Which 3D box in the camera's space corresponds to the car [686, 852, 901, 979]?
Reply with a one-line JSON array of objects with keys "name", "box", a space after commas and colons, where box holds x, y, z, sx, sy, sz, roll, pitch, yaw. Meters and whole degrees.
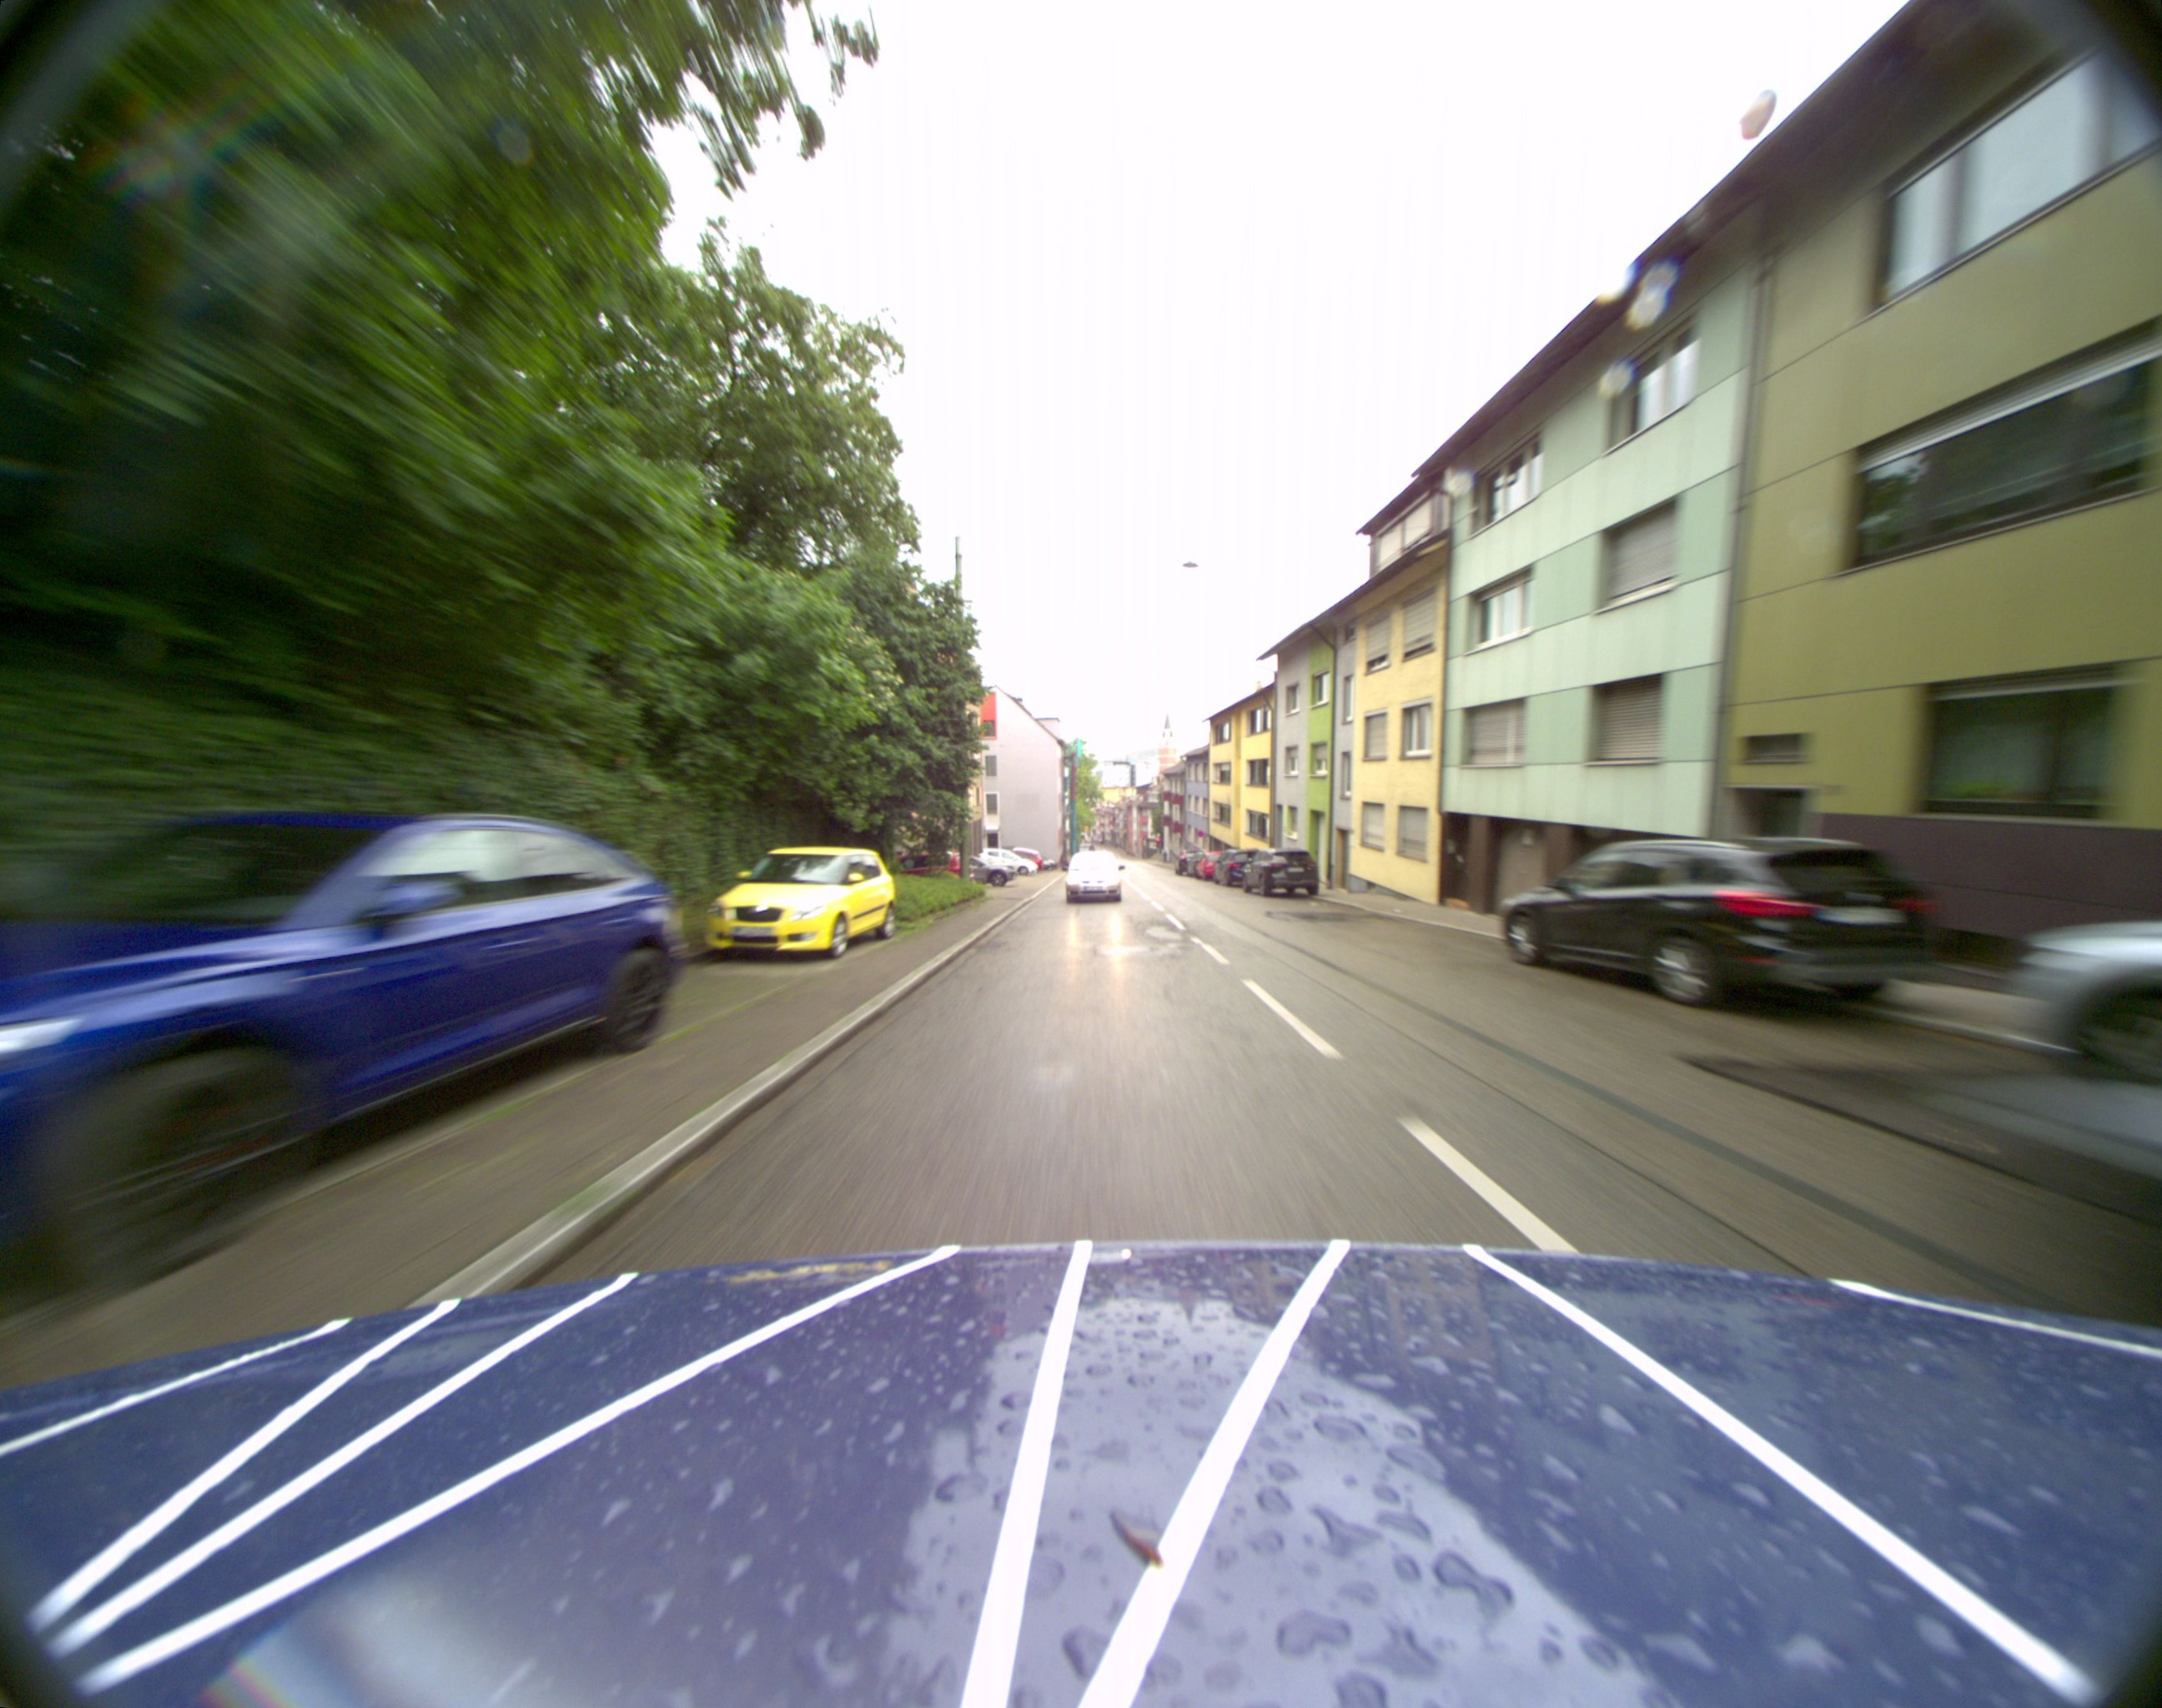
[{"name": "car", "box": [-3.951, 0.740, 11.143, 1.567, 1.459, 3.898, 2, 1, 1]}]

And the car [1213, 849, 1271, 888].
[{"name": "car", "box": [6.996, 0.599, 33.383, 1.687, 1.584, 4.055, 1, 1, 1]}]

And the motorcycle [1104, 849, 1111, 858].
[{"name": "motorcycle", "box": [3.391, -0.067, 95.925, 0.779, 1.120, 2.299, -2, 1, 3]}]

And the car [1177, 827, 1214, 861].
[{"name": "car", "box": [9.121, -0.819, 61.063, 2.122, 2.536, 5.443, 2, 1, 0]}]

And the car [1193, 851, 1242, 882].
[{"name": "car", "box": [7.227, 0.625, 40.490, 1.908, 1.528, 3.999, 1, 1, 1]}]

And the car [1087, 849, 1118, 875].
[{"name": "car", "box": [1.414, 0.499, 51.287, 1.999, 1.603, 3.966, -1, 1, 0]}]

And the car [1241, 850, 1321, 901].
[{"name": "car", "box": [6.754, 0.670, 26.063, 1.696, 1.584, 3.999, 1, 1, 0]}]

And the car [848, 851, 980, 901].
[{"name": "car", "box": [-5.819, 0.755, 26.769, 4.193, 1.585, 1.803, -1, 1, 1]}]

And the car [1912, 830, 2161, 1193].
[{"name": "car", "box": [6.179, 0.790, 2.251, 1.971, 1.729, 4.884, 1, 1, -1]}]

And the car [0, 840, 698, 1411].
[{"name": "car", "box": [-3.971, 0.745, 3.774, 1.769, 1.614, 4.678, 0, 1, 0]}]

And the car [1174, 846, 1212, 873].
[{"name": "car", "box": [7.336, 0.322, 50.159, 1.908, 1.647, 4.327, 1, 1, 1]}]

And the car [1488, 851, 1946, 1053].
[{"name": "car", "box": [6.391, 0.802, 8.437, 1.414, 1.605, 4.382, 1, 1, 1]}]

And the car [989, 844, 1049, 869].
[{"name": "car", "box": [-4.564, 0.196, 56.309, 4.193, 1.635, 1.803, 3, 2, 0]}]

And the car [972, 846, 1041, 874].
[{"name": "car", "box": [-4.767, 0.359, 49.012, 4.193, 1.565, 1.803, 3, 1, 0]}]

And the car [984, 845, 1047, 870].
[{"name": "car", "box": [-4.600, 0.255, 53.806, 4.193, 1.565, 1.803, 3, 1, 0]}]

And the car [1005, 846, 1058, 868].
[{"name": "car", "box": [-4.062, 0.225, 62.490, 4.193, 1.565, 1.803, 3, 1, 0]}]

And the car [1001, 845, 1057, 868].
[{"name": "car", "box": [-4.066, 0.190, 60.164, 4.193, 1.565, 1.803, 3, 1, 0]}]

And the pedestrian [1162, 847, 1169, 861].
[{"name": "pedestrian", "box": [9.839, 0.016, 88.244, 0.805, 1.608, 0.455, -1, 1, 2]}]

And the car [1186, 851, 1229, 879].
[{"name": "car", "box": [7.478, 0.608, 45.323, 1.908, 1.528, 3.999, 1, 1, 1]}]

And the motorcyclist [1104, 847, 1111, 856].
[{"name": "motorcyclist", "box": [3.377, -0.344, 95.999, 0.779, 1.120, 0.549, -2, 1, 3]}]

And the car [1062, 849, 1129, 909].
[{"name": "car", "box": [0.530, 0.683, 23.387, 1.826, 1.603, 4.189, -1, 1, 3]}]

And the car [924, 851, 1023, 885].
[{"name": "car", "box": [-4.819, 0.629, 34.473, 4.193, 1.408, 1.803, 1, 1, 0]}]
